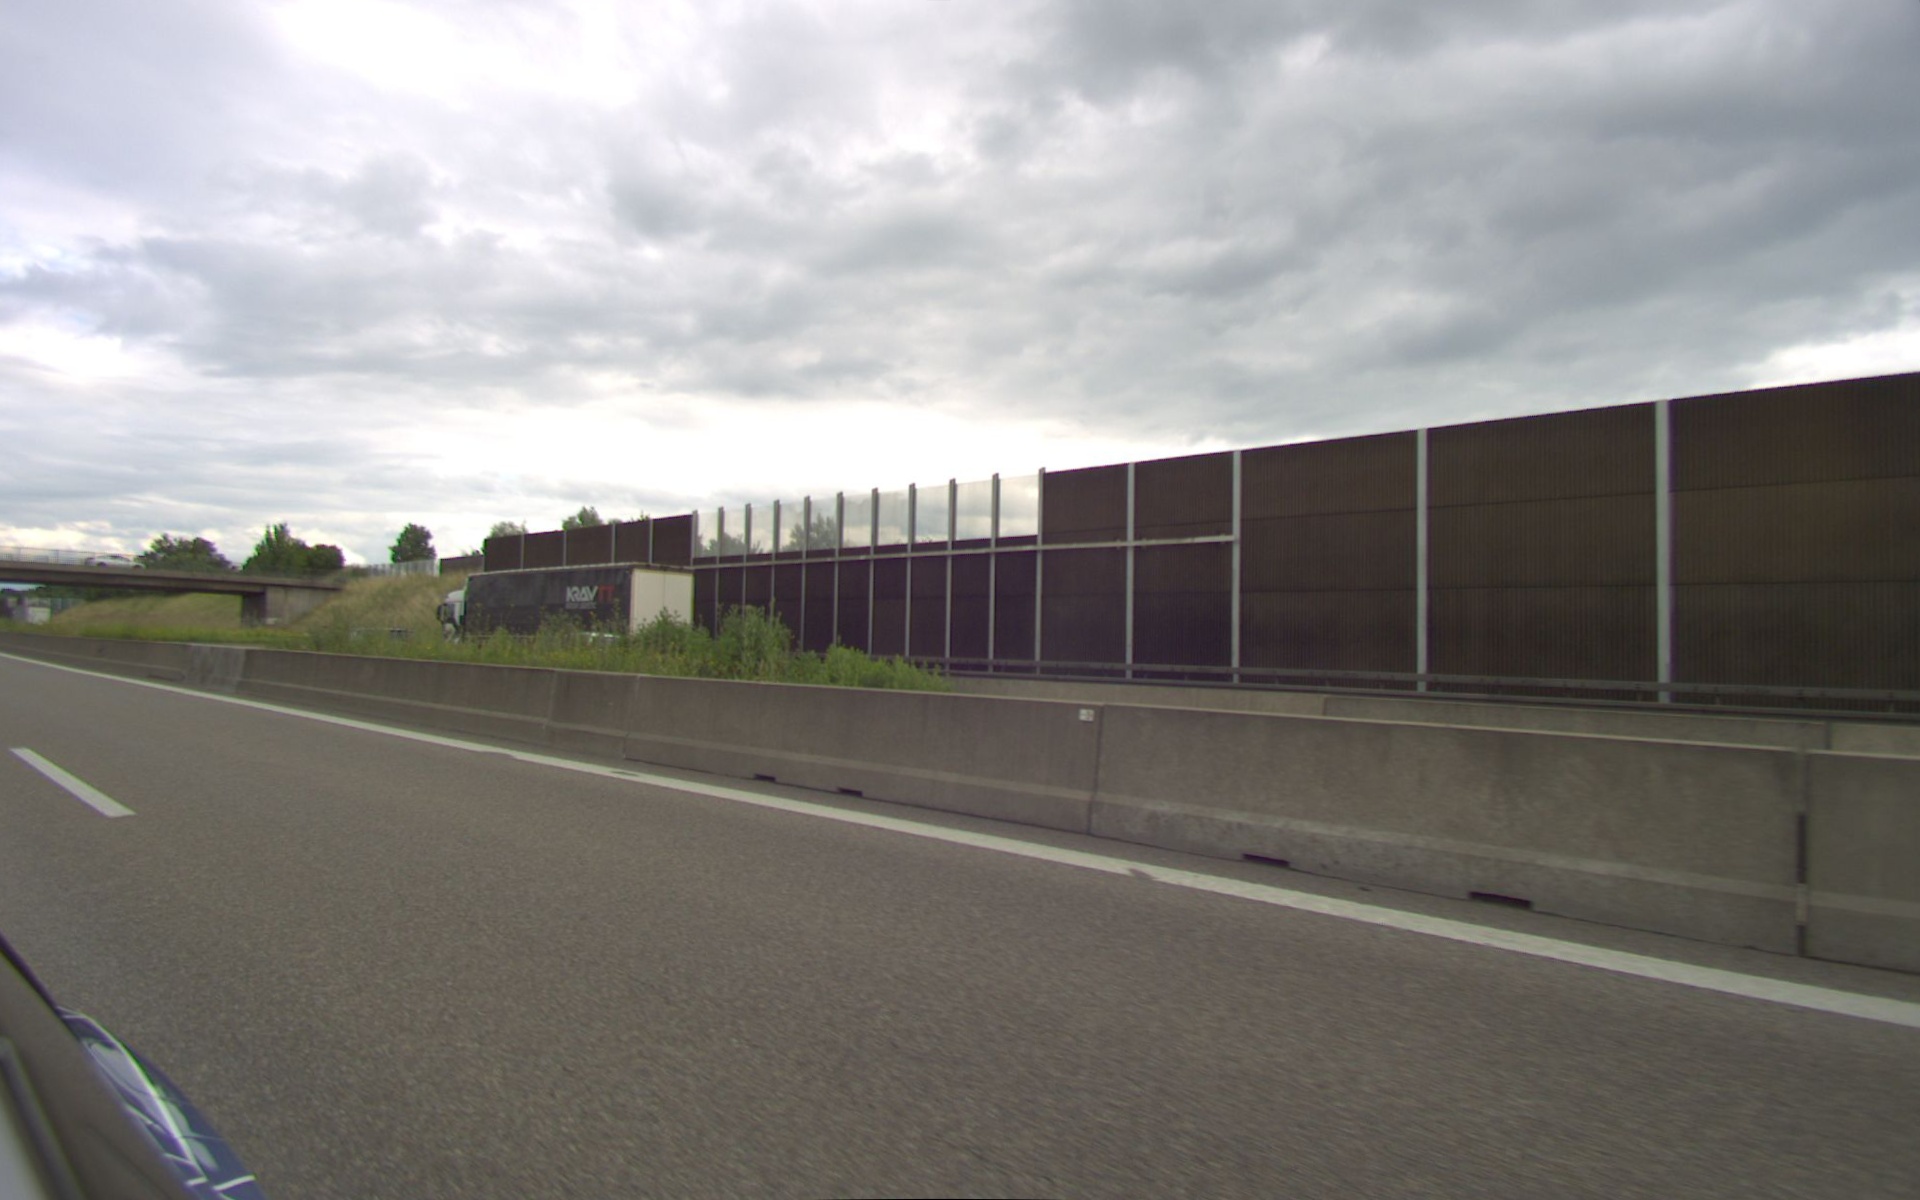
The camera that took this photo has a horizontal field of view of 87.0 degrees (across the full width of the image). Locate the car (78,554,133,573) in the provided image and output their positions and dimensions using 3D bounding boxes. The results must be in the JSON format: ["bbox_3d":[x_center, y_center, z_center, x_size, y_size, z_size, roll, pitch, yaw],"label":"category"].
[{"bbox_3d":[-75.016,-3.207,88.897,1.654,1.458,3.308,0,-1,29],"label":"car"}]

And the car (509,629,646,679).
[{"bbox_3d":[-12.232,1.651,32.231,4.938,1.374,1.973,-1,0,41],"label":"car"}]

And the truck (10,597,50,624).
[{"bbox_3d":[-133.879,1.572,145.613,13.004,3.712,2.966,-1,-1,42],"label":"truck"}]

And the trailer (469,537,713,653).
[{"bbox_3d":[-15.138,-0.106,40.610,12.673,4.010,3.633,-1,0,42],"label":"trailer"}]

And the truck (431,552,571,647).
[{"bbox_3d":[-20.733,-0.006,45.608,6.011,3.977,3.629,-1,0,41],"label":"truck"}]
